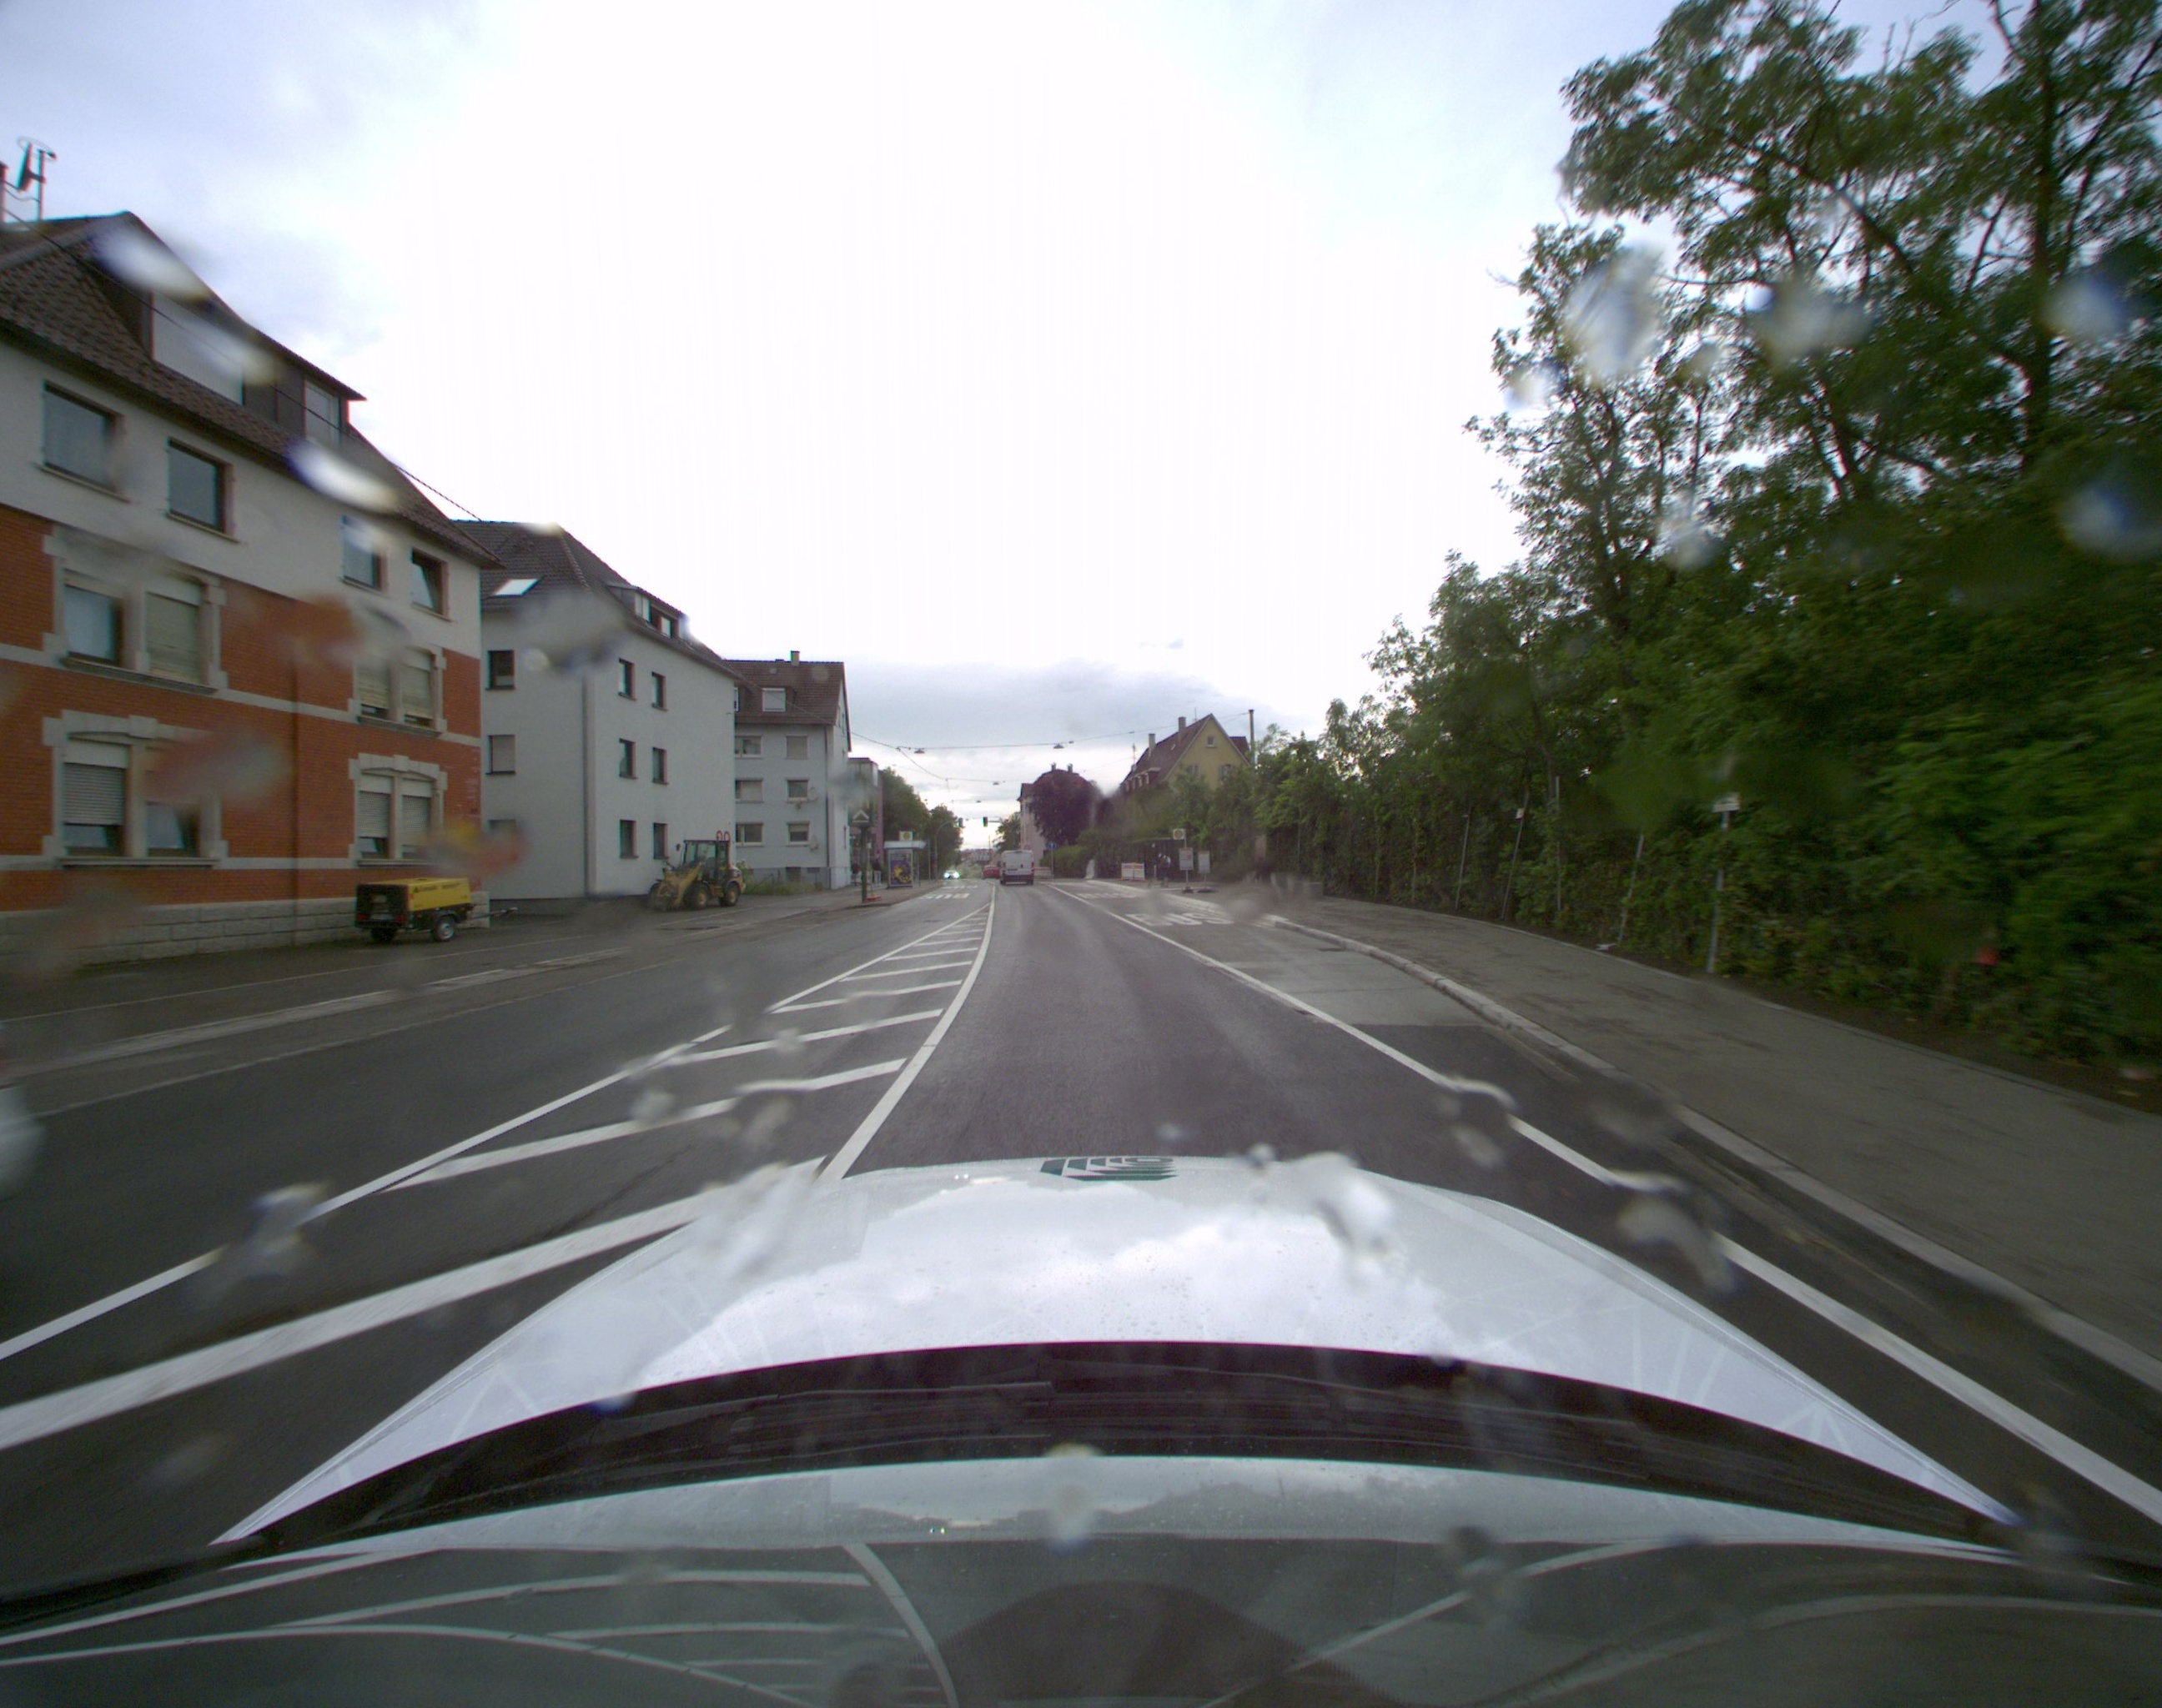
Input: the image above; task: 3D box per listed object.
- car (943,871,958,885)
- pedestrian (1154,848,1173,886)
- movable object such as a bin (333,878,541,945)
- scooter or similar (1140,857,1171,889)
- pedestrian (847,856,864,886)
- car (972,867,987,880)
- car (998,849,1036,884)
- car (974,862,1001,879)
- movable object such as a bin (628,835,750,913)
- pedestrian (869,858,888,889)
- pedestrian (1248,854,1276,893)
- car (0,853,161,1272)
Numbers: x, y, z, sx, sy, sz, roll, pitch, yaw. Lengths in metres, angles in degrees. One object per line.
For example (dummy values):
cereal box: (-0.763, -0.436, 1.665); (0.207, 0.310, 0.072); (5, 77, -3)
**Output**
car: (-18.990, 3.438, 118.712); (1.992, 1.793, 3.990); (0, 1, -8)
pedestrian: (3.886, 0.603, 38.497); (0.901, 1.731, 0.655); (0, 1, 5)
movable object such as a bin: (-14.510, 1.237, 18.668); (1.548, 1.355, 3.999); (0, -2, 0)
scooter or similar: (3.538, 0.893, 38.446); (1.564, 1.406, 0.491); (-3, 3, -42)
pedestrian: (-15.592, 1.177, 56.442); (1.080, 2.013, 1.047); (0, 1, -13)
car: (-15.995, 3.017, 128.014); (2.236, 1.804, 4.700); (0, 1, -8)
car: (-4.335, 0.844, 54.634); (2.236, 2.213, 4.700); (-1, -1, -8)
car: (-9.775, 1.750, 85.129); (2.241, 1.657, 4.689); (0, -3, -14)
movable object such as a bin: (-14.460, 0.645, 30.386); (1.984, 2.682, 4.634); (0, 1, 4)
pedestrian: (-13.817, 1.316, 55.495); (1.207, 2.013, 1.048); (0, 1, -12)
pedestrian: (6.599, 0.715, 29.674); (0.874, 1.367, 1.067); (0, 1, 5)
car: (-4.986, 0.734, 1.207); (1.922, 1.556, 4.619); (0, -1, 0)
